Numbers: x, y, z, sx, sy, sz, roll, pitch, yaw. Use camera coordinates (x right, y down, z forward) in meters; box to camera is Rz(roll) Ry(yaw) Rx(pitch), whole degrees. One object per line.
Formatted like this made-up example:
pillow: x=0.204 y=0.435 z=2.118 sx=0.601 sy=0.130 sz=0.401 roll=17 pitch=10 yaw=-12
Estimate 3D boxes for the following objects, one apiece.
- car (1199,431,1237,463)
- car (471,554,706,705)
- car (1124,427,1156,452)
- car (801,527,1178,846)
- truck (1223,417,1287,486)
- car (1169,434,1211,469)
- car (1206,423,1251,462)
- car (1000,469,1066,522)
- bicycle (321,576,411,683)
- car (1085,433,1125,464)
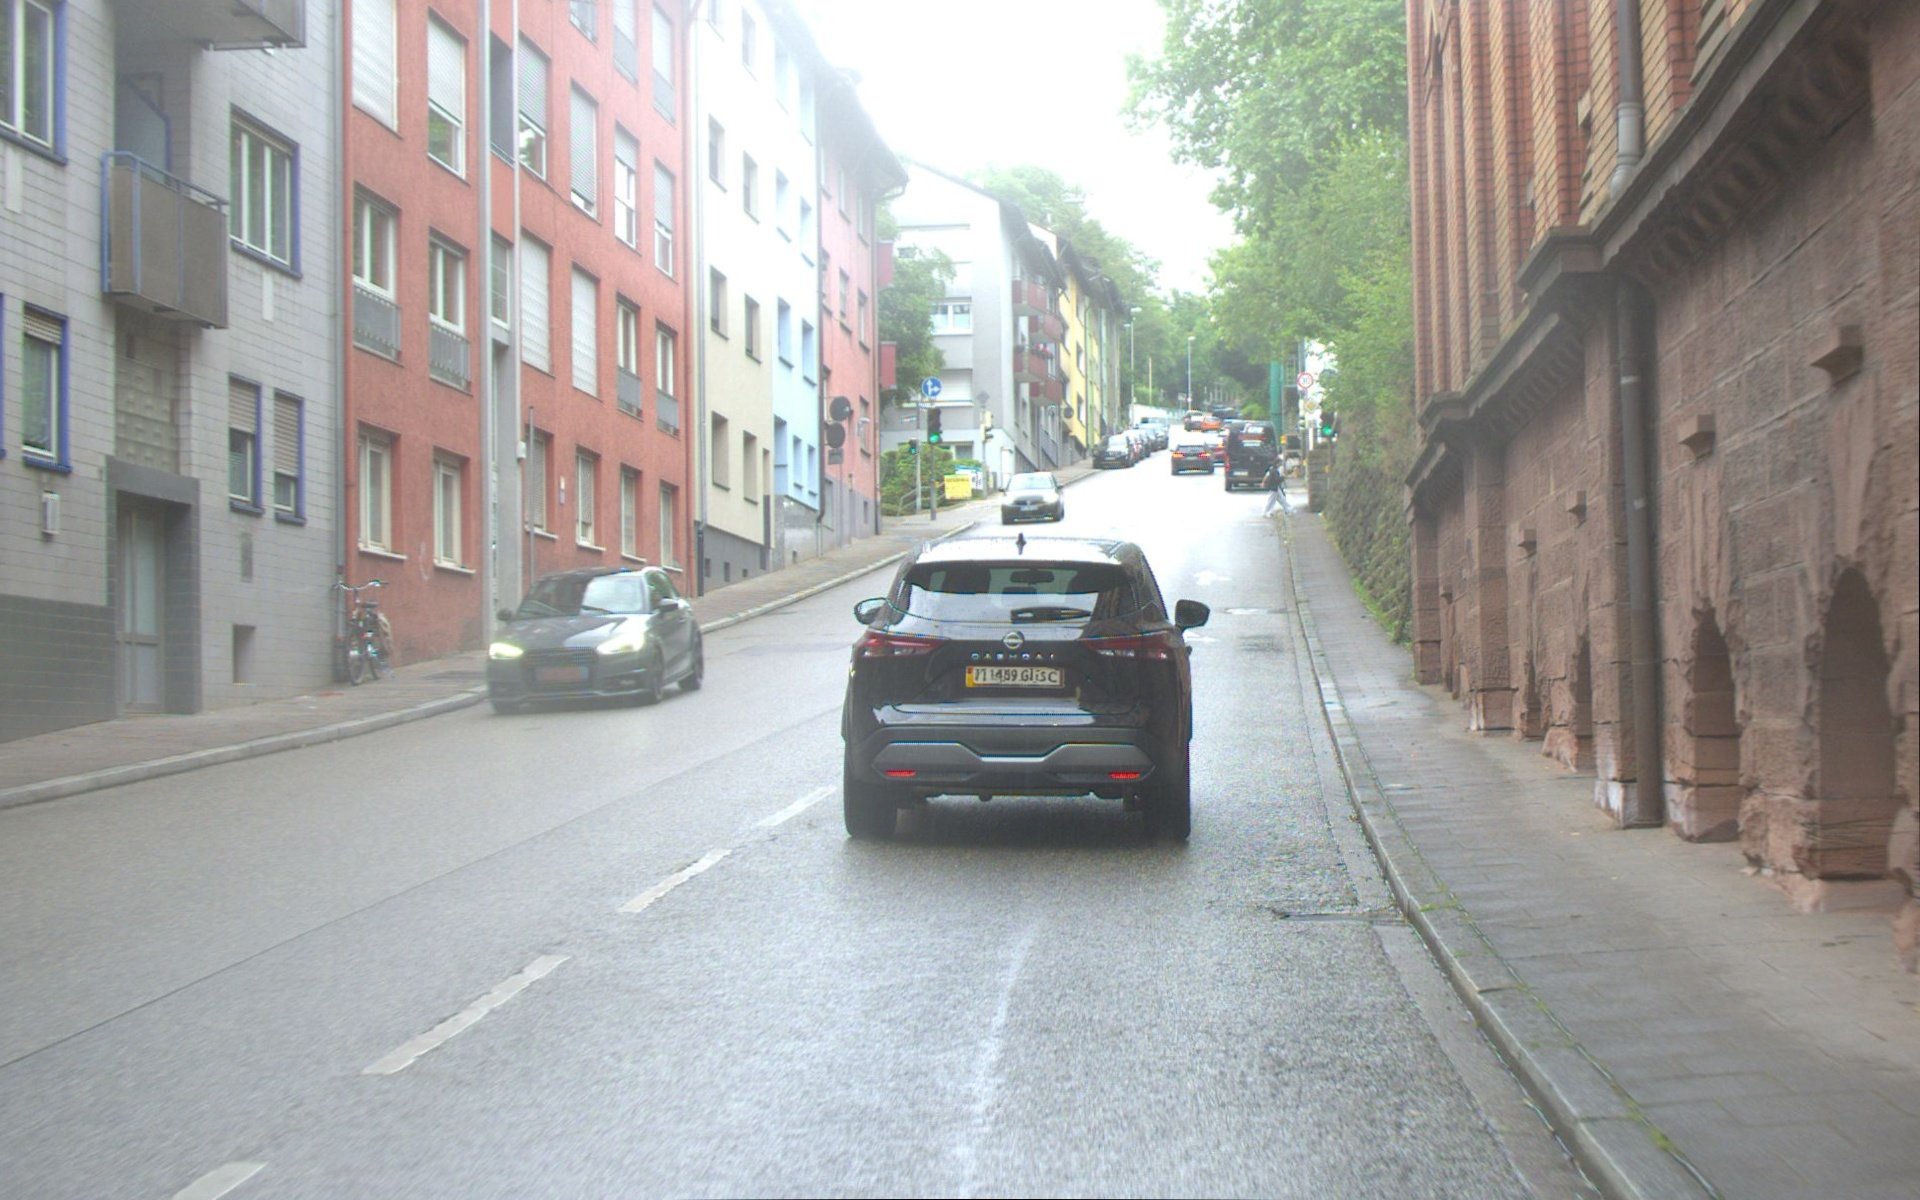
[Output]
car: x=12.753 y=-7.562 z=170.030 sx=1.794 sy=1.505 sz=4.000 roll=-1 pitch=2 yaw=5
car: x=-3.768 y=0.265 z=35.452 sx=1.645 sy=1.374 sz=3.850 roll=-3 pitch=1 yaw=5
car: x=11.383 y=-10.122 z=217.202 sx=1.794 sy=1.505 sz=4.000 roll=-1 pitch=2 yaw=5
car: x=0.213 y=0.415 z=19.117 sx=1.881 sy=1.588 sz=3.921 roll=0 pitch=0 yaw=2
truck: x=10.957 y=-5.484 z=127.611 sx=2.290 sy=2.431 sz=4.452 roll=-1 pitch=2 yaw=5
car: x=10.486 y=-6.772 z=156.759 sx=1.794 sy=1.505 sz=4.000 roll=-1 pitch=2 yaw=5
car: x=11.131 y=-6.502 z=142.329 sx=1.794 sy=1.505 sz=4.500 roll=-1 pitch=2 yaw=5
car: x=2.162 y=-3.089 z=101.205 sx=1.714 sy=1.443 sz=3.921 roll=-1 pitch=3 yaw=4
bicycle: x=-6.563 y=0.315 z=38.046 sx=0.498 sy=1.104 sz=1.800 roll=-1 pitch=2 yaw=6
car: x=7.281 y=-7.591 z=172.568 sx=1.794 sy=1.505 sz=4.000 roll=-1 pitch=2 yaw=5
